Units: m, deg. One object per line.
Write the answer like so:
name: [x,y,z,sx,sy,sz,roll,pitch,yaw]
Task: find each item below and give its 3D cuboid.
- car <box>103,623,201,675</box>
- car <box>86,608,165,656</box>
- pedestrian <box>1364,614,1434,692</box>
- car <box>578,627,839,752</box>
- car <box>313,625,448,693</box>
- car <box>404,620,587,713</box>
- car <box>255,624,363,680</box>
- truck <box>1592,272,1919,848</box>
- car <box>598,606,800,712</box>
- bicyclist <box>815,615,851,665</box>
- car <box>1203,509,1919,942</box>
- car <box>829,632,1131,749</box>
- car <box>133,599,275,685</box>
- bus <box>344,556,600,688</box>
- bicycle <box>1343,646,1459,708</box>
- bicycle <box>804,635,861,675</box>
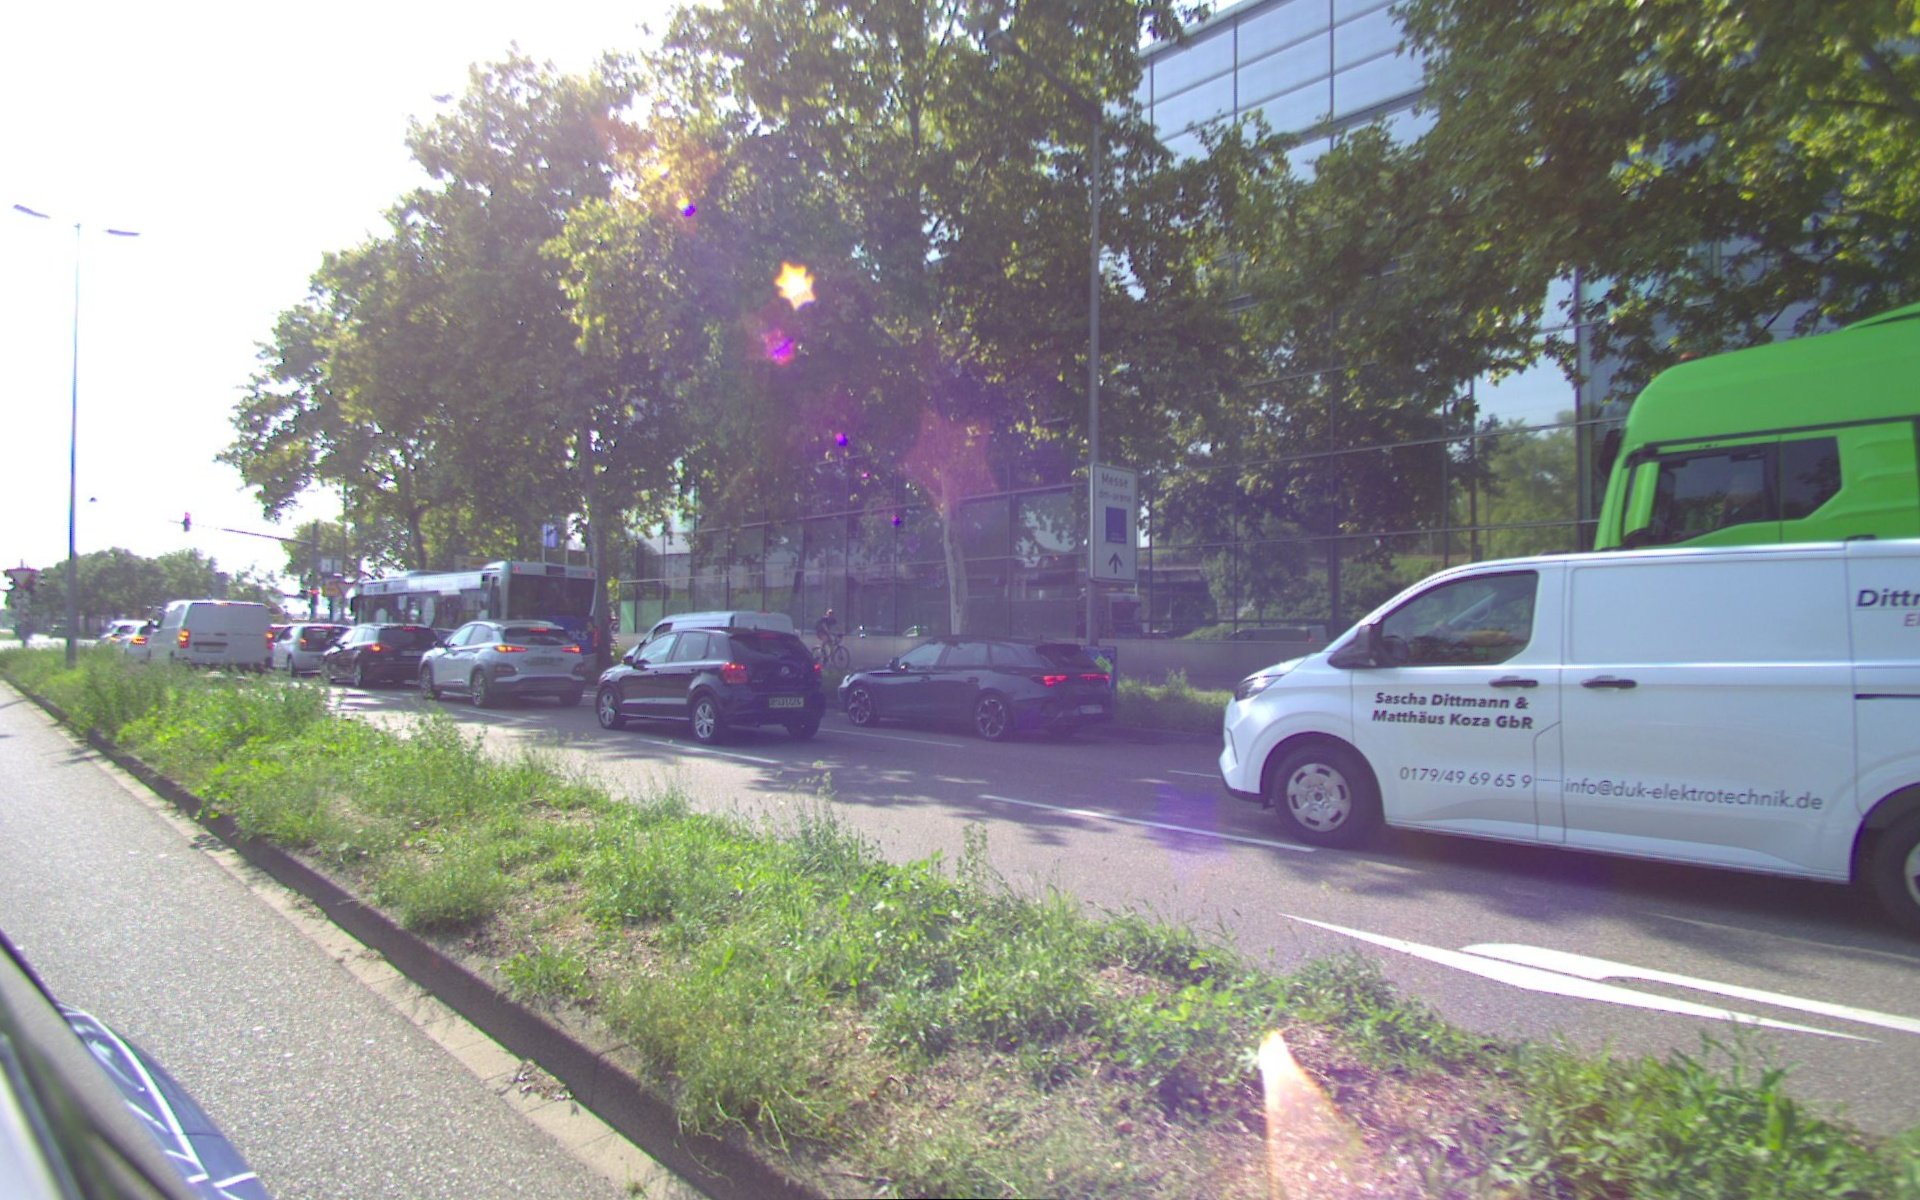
car: [-23.756,1.442,29.717,4.084,1.413,1.690,-2,-5,44]
car: [-27.895,1.072,33.800,4.002,1.507,1.624,-2,-2,45]
pedestrian: [7.836,0.931,18.085,1.032,1.360,0.492,-1,-2,43]
car: [-3.472,1.110,13.582,1.596,1.409,3.859,5,-4,-45]
car: [-13.651,1.344,23.743,4.191,1.444,1.628,-1,-4,44]
car: [-8.788,1.191,18.998,4.141,1.540,1.676,-1,-4,44]
car: [-18.596,1.465,28.844,3.822,1.478,1.687,-1,-4,44]
truck: [8.044,-0.235,6.954,5.892,3.849,2.578,-1,-4,44]
car: [-5.386,1.143,20.496,4.750,1.902,1.684,-1,-4,44]
bicyclist: [-3.718,1.167,29.646,0.840,1.450,0.641,-2,-3,43]
car: [4.210,0.621,6.124,5.037,1.968,1.971,-1,-3,44]
car: [0.153,1.227,14.818,4.481,1.421,1.629,-1,-4,44]
car: [-18.321,1.028,24.444,4.890,1.878,1.890,-2,-4,43]
bus: [-14.401,0.615,28.996,12.316,3.103,2.561,-1,-2,44]
bicycle: [7.848,1.355,18.065,1.832,1.016,0.497,-1,-2,44]
bicycle: [-3.749,1.591,29.638,1.800,1.116,0.641,-1,-3,43]
